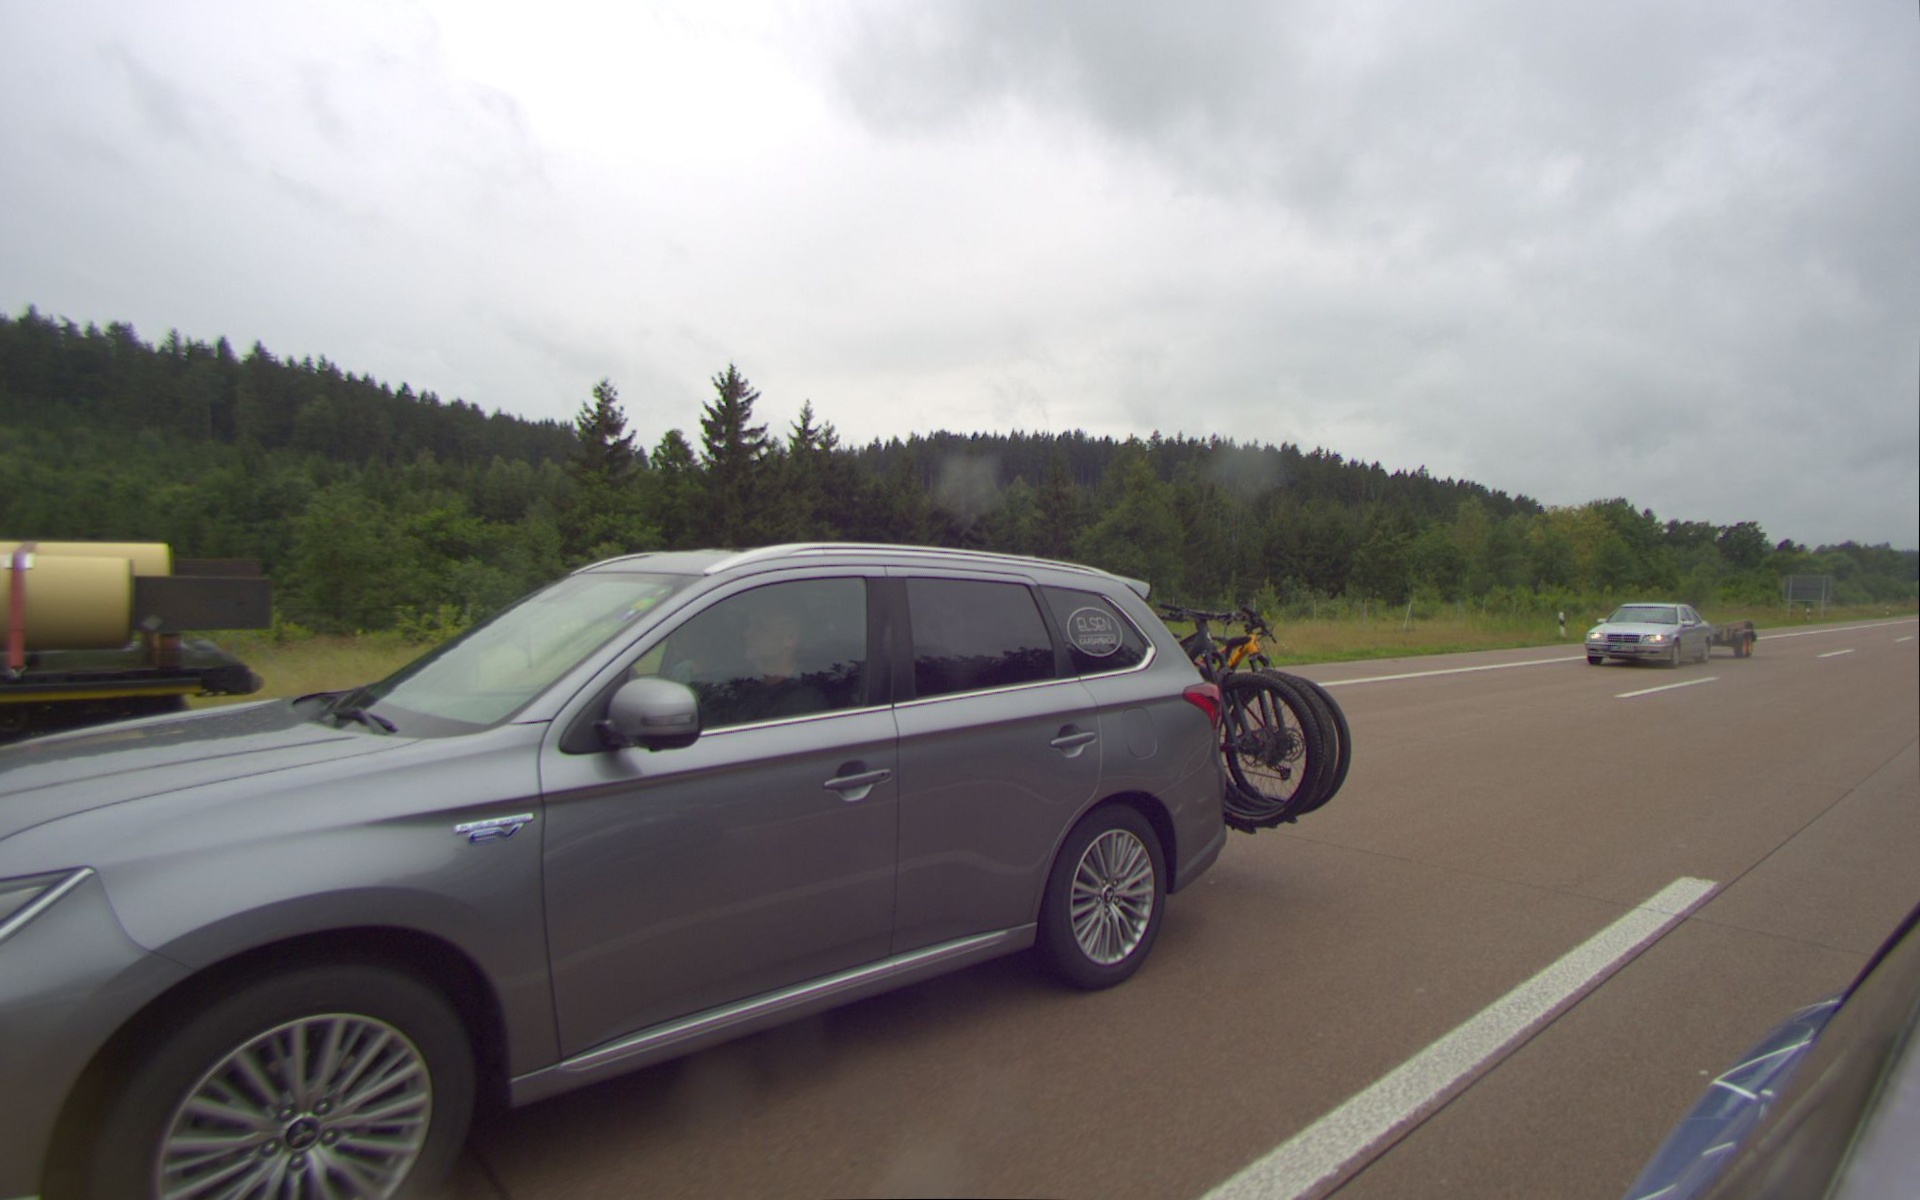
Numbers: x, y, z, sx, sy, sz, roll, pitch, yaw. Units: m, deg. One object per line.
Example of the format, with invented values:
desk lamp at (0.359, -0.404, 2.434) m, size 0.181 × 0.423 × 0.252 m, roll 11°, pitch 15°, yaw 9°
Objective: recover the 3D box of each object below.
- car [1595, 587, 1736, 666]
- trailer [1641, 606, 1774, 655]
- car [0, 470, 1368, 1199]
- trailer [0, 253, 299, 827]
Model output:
car at (16.781, 0.535, 23.981) m, size 4.892 × 1.631 × 1.700 m, roll -1°, pitch 2°, yaw -42°
trailer at (20.089, 0.772, 27.125) m, size 4.559 × 1.181 × 1.974 m, roll 0°, pitch 0°, yaw -42°
car at (-0.834, 0.528, 3.837) m, size 5.718 × 1.612 × 1.997 m, roll -2°, pitch 1°, yaw -40°
trailer at (-8.779, -0.185, 2.935) m, size 11.202 × 2.709 × 2.885 m, roll -2°, pitch 1°, yaw -41°
